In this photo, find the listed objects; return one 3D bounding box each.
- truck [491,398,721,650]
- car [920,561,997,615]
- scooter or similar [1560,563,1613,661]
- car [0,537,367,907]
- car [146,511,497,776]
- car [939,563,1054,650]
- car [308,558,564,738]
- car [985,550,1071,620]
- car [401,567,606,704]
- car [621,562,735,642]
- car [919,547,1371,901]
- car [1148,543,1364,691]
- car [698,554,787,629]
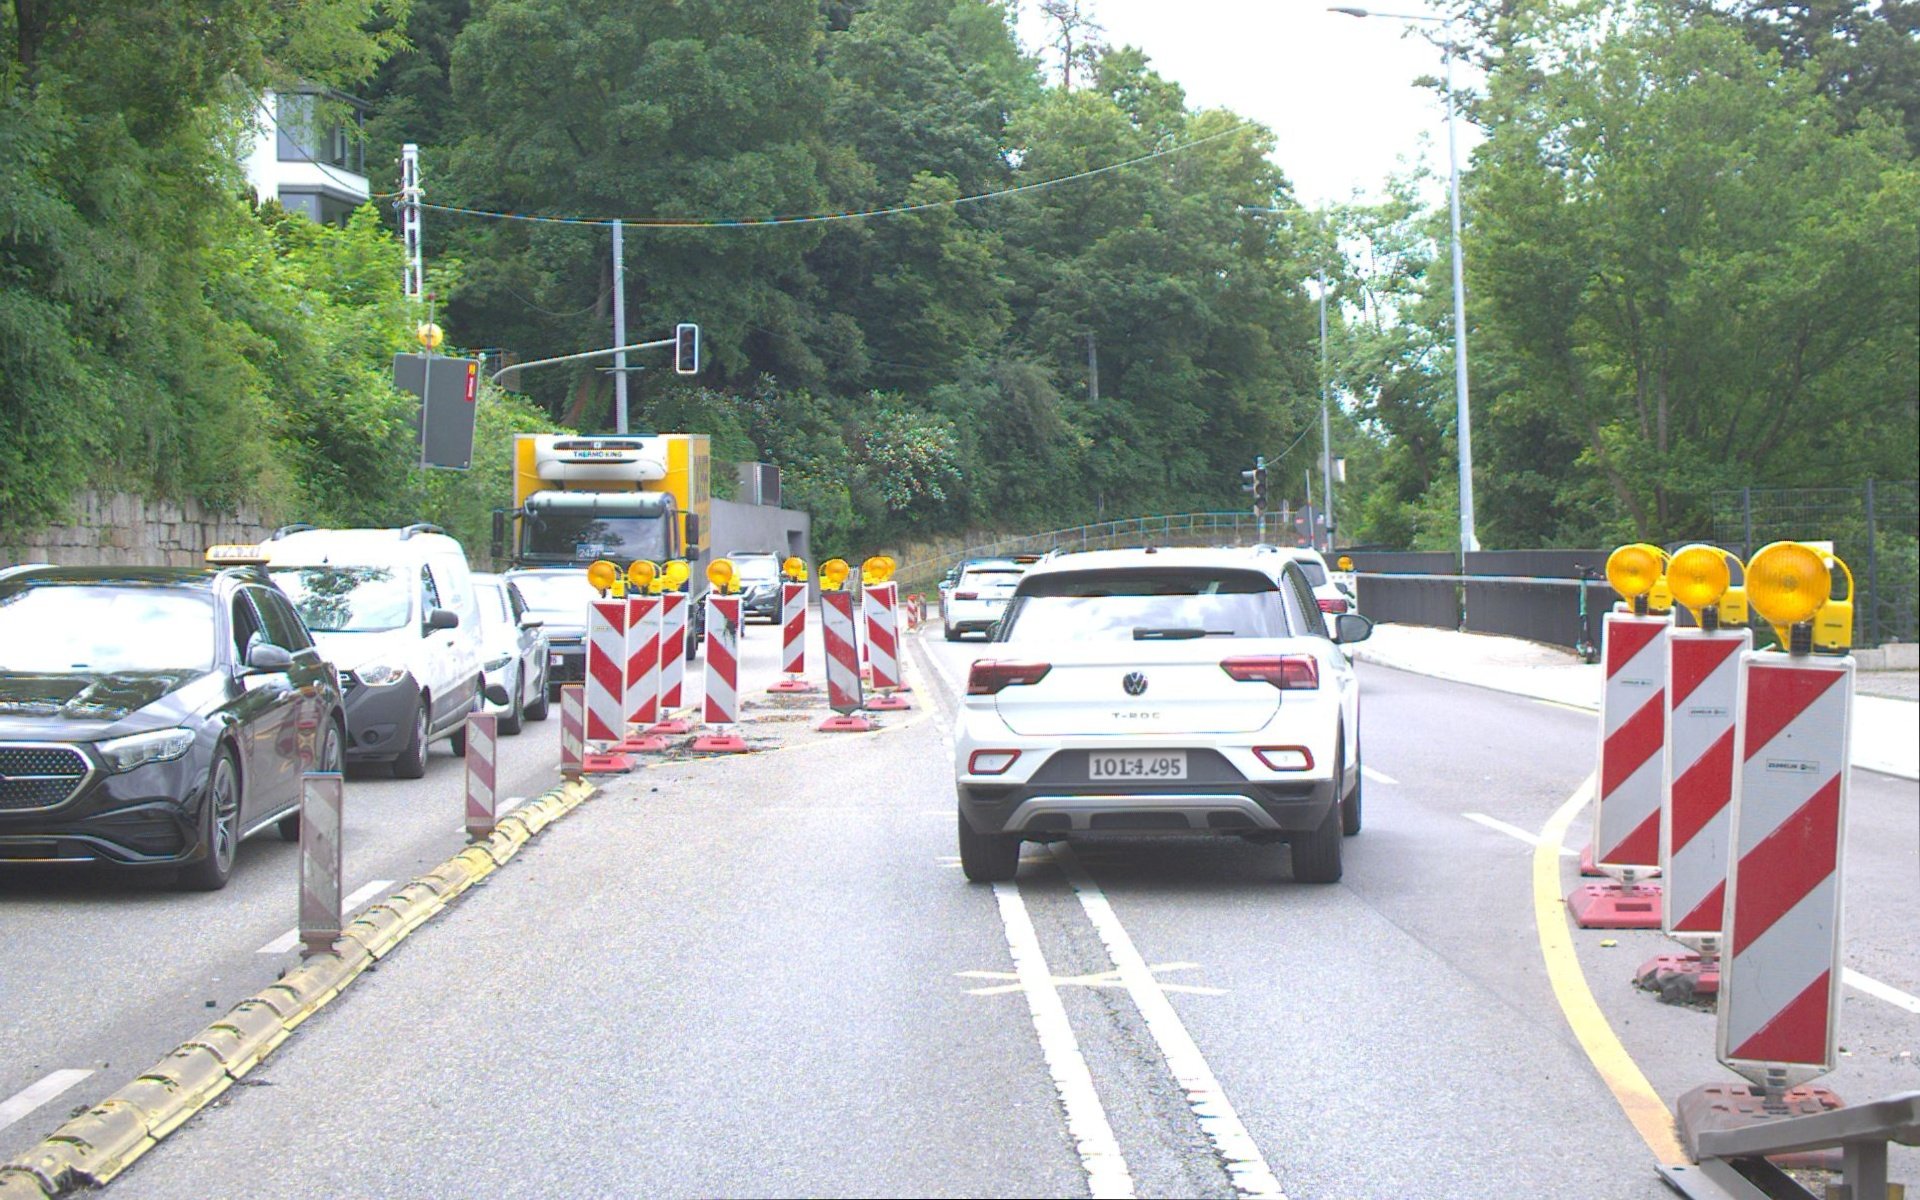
[{"bbox_3d":[-5.196,-1.085,51.658,2.731,3.498,7.350,-1,0,-1],"label":"truck"},{"bbox_3d":[-0.025,-0.364,98.289,1.711,1.461,3.659,1,1,7],"label":"car"},{"bbox_3d":[8.177,0.148,44.865,0.534,1.222,1.206,-2,1,5],"label":"scooter or similar"},{"bbox_3d":[-4.258,0.504,17.173,1.831,1.587,4.655,1,0,-1],"label":"car"},{"bbox_3d":[-4.657,0.286,25.671,1.803,1.784,4.342,1,0,0],"label":"car"},{"bbox_3d":[0.660,0.112,65.232,1.906,1.568,4.000,1,0,-3],"label":"car"},{"bbox_3d":[-4.714,0.393,31.461,1.791,1.502,4.312,1,0,-2],"label":"car"},{"bbox_3d":[1.722,-0.388,86.144,1.816,1.684,3.999,1,0,6],"label":"car"},{"bbox_3d":[-5.108,0.361,38.993,1.770,1.437,4.746,1,0,-1],"label":"car"},{"bbox_3d":[-5.208,0.010,63.904,1.809,1.425,4.875,0,1,-1],"label":"car"},{"bbox_3d":[1.027,0.523,16.920,1.867,1.531,3.802,0,0,9],"label":"car"},{"bbox_3d":[3.331,0.167,39.416,1.993,1.581,4.000,1,0,-2],"label":"car"},{"bbox_3d":[-5.102,-0.222,81.120,1.883,1.691,4.672,0,1,-1],"label":"car"}]
